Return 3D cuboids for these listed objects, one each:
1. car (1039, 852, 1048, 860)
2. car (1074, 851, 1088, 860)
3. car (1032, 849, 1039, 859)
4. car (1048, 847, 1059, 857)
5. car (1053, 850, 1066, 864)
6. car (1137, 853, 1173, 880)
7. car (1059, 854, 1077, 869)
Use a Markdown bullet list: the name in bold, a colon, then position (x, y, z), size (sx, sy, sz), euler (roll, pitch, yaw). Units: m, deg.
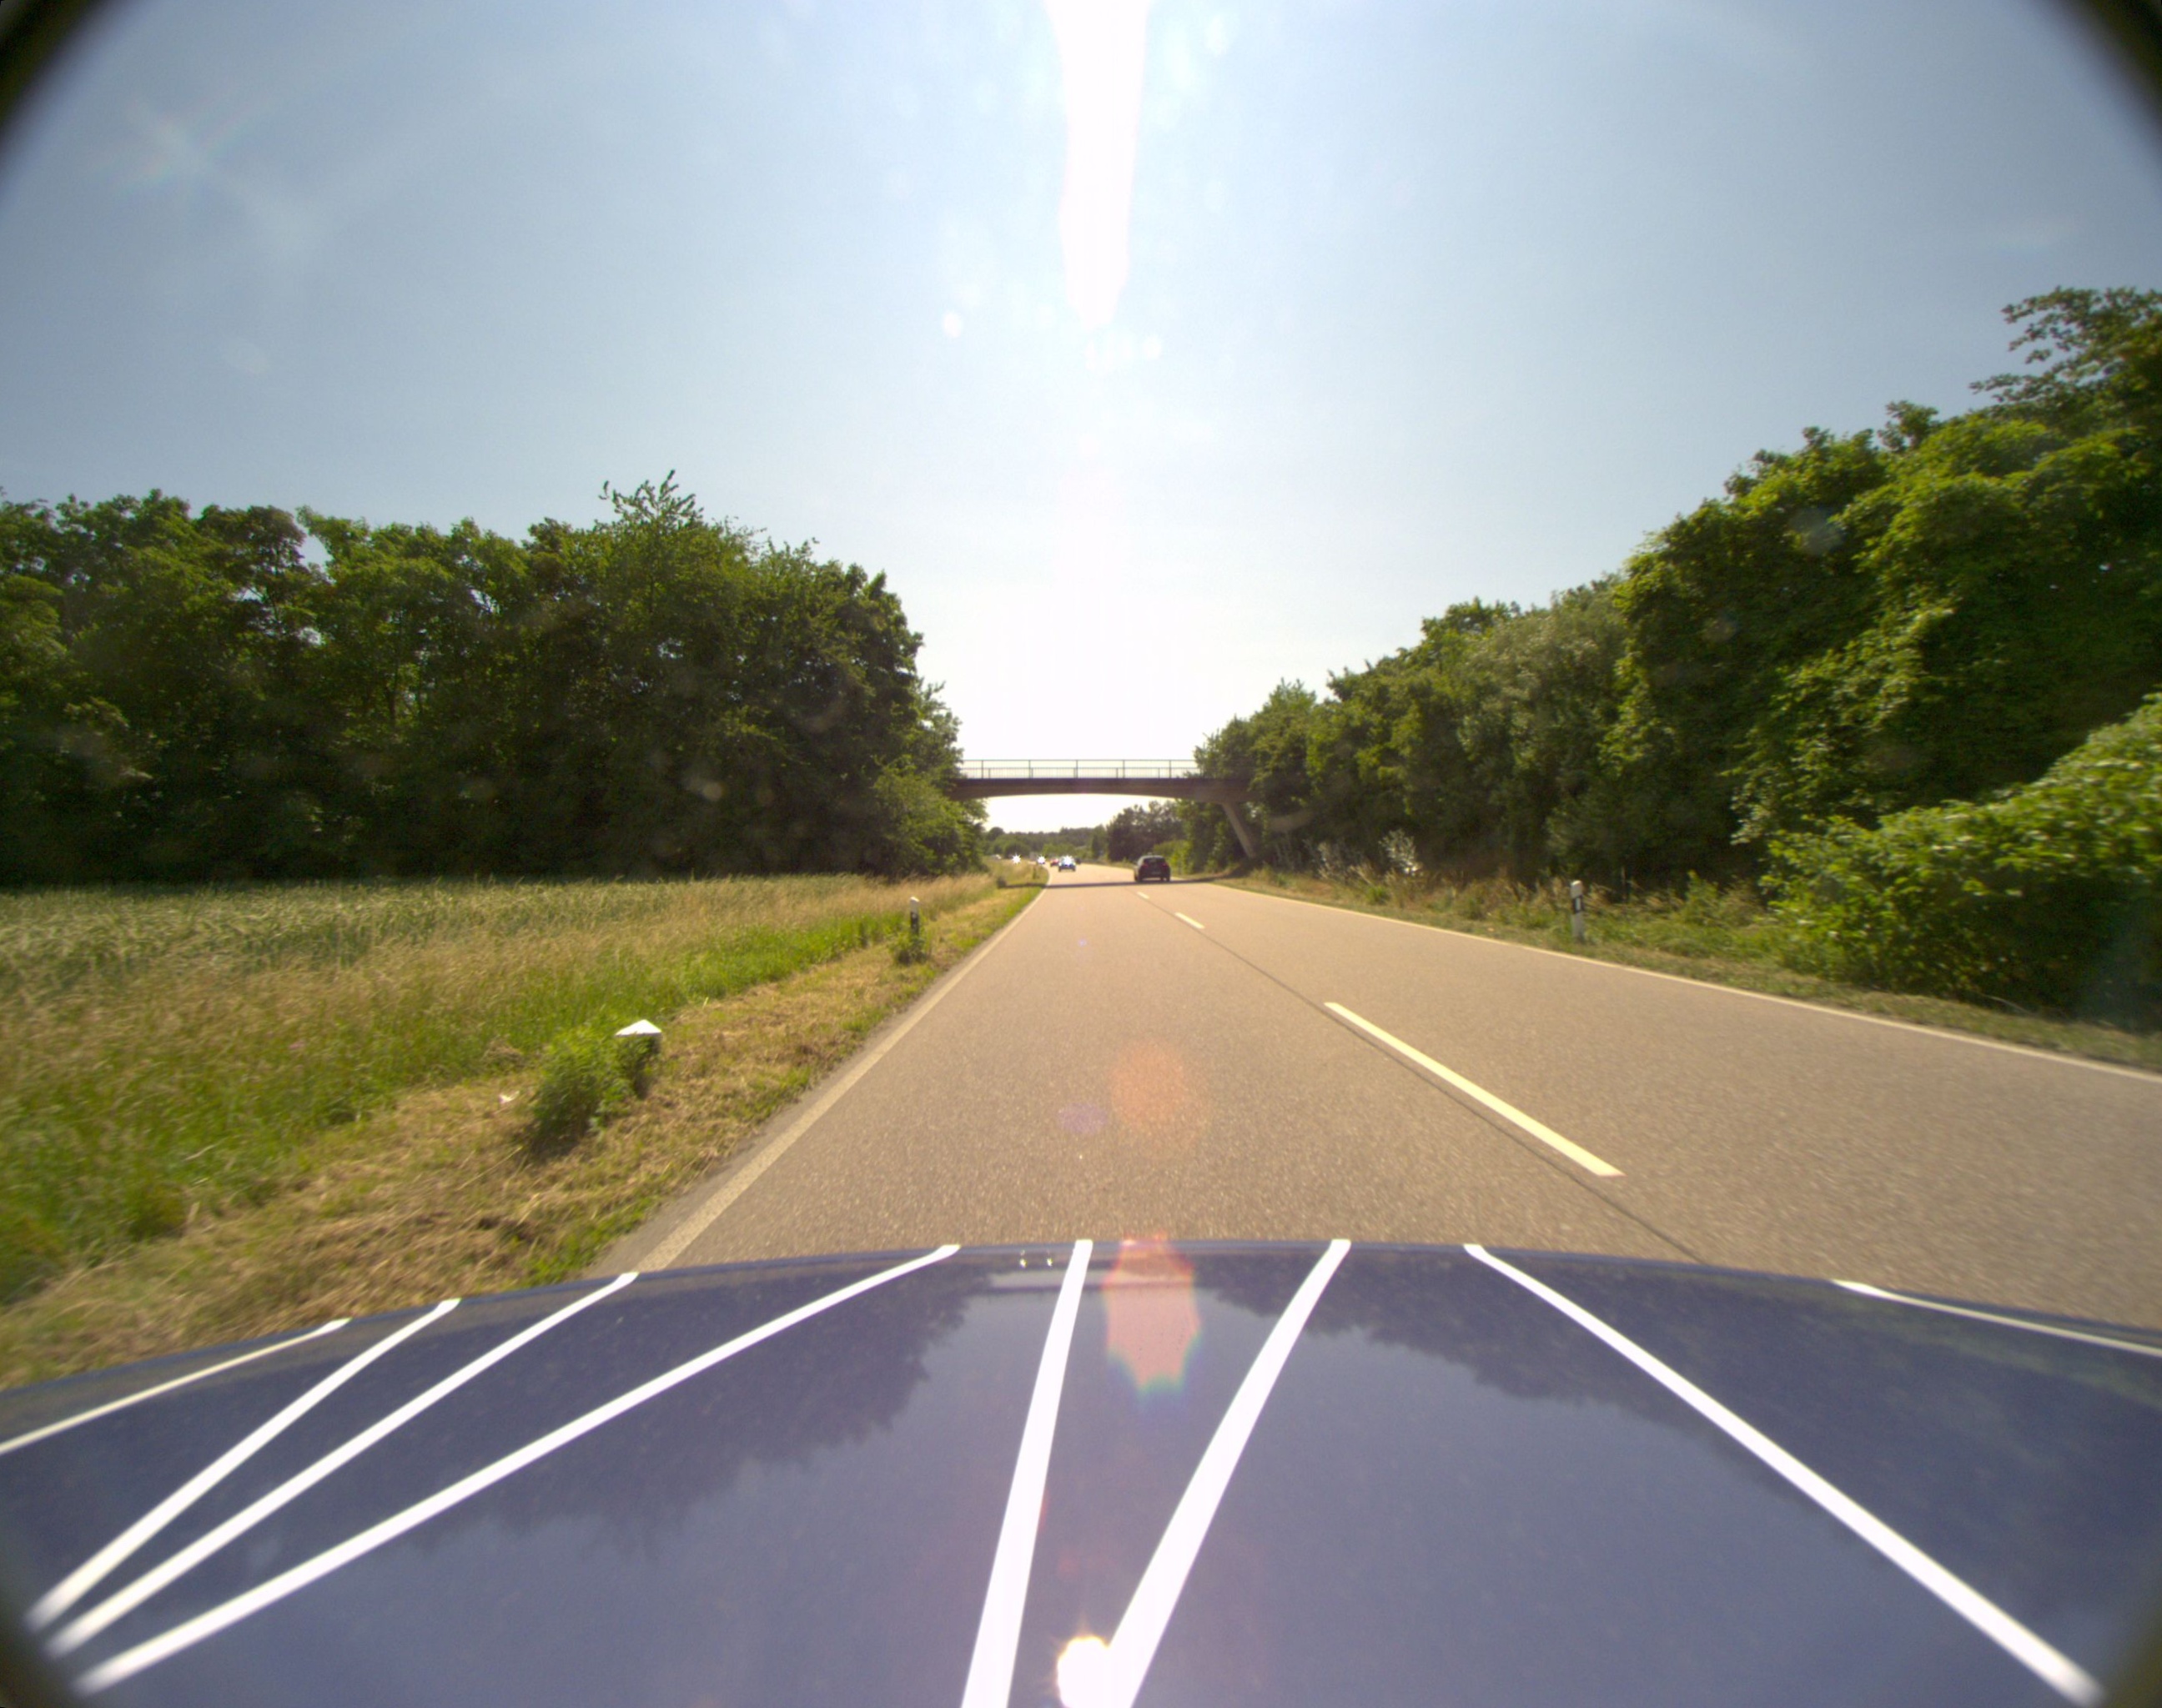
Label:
- **car**: position (-8.182, 0.430, 166.665), size (1.553, 1.659, 4.000), euler (-2, 1, 3)
- **car**: position (0.006, 0.258, 127.115), size (1.999, 1.521, 5.506), euler (-2, 0, -2)
- **car**: position (-14.610, 0.125, 243.234), size (2.296, 2.612, 4.970), euler (1, 6, -5)
- **car**: position (-8.217, -0.646, 230.548), size (3.034, 2.987, 7.842), euler (0, 0, -1)
- **car**: position (-3.332, 0.470, 118.733), size (1.999, 2.002, 3.999), euler (-2, 0, -1)
- **car**: position (4.226, 0.684, 44.056), size (1.711, 1.420, 4.000), euler (-1, 0, 0)
- **car**: position (-1.342, 0.771, 79.364), size (1.693, 1.431, 3.710), euler (-2, 0, -1)
